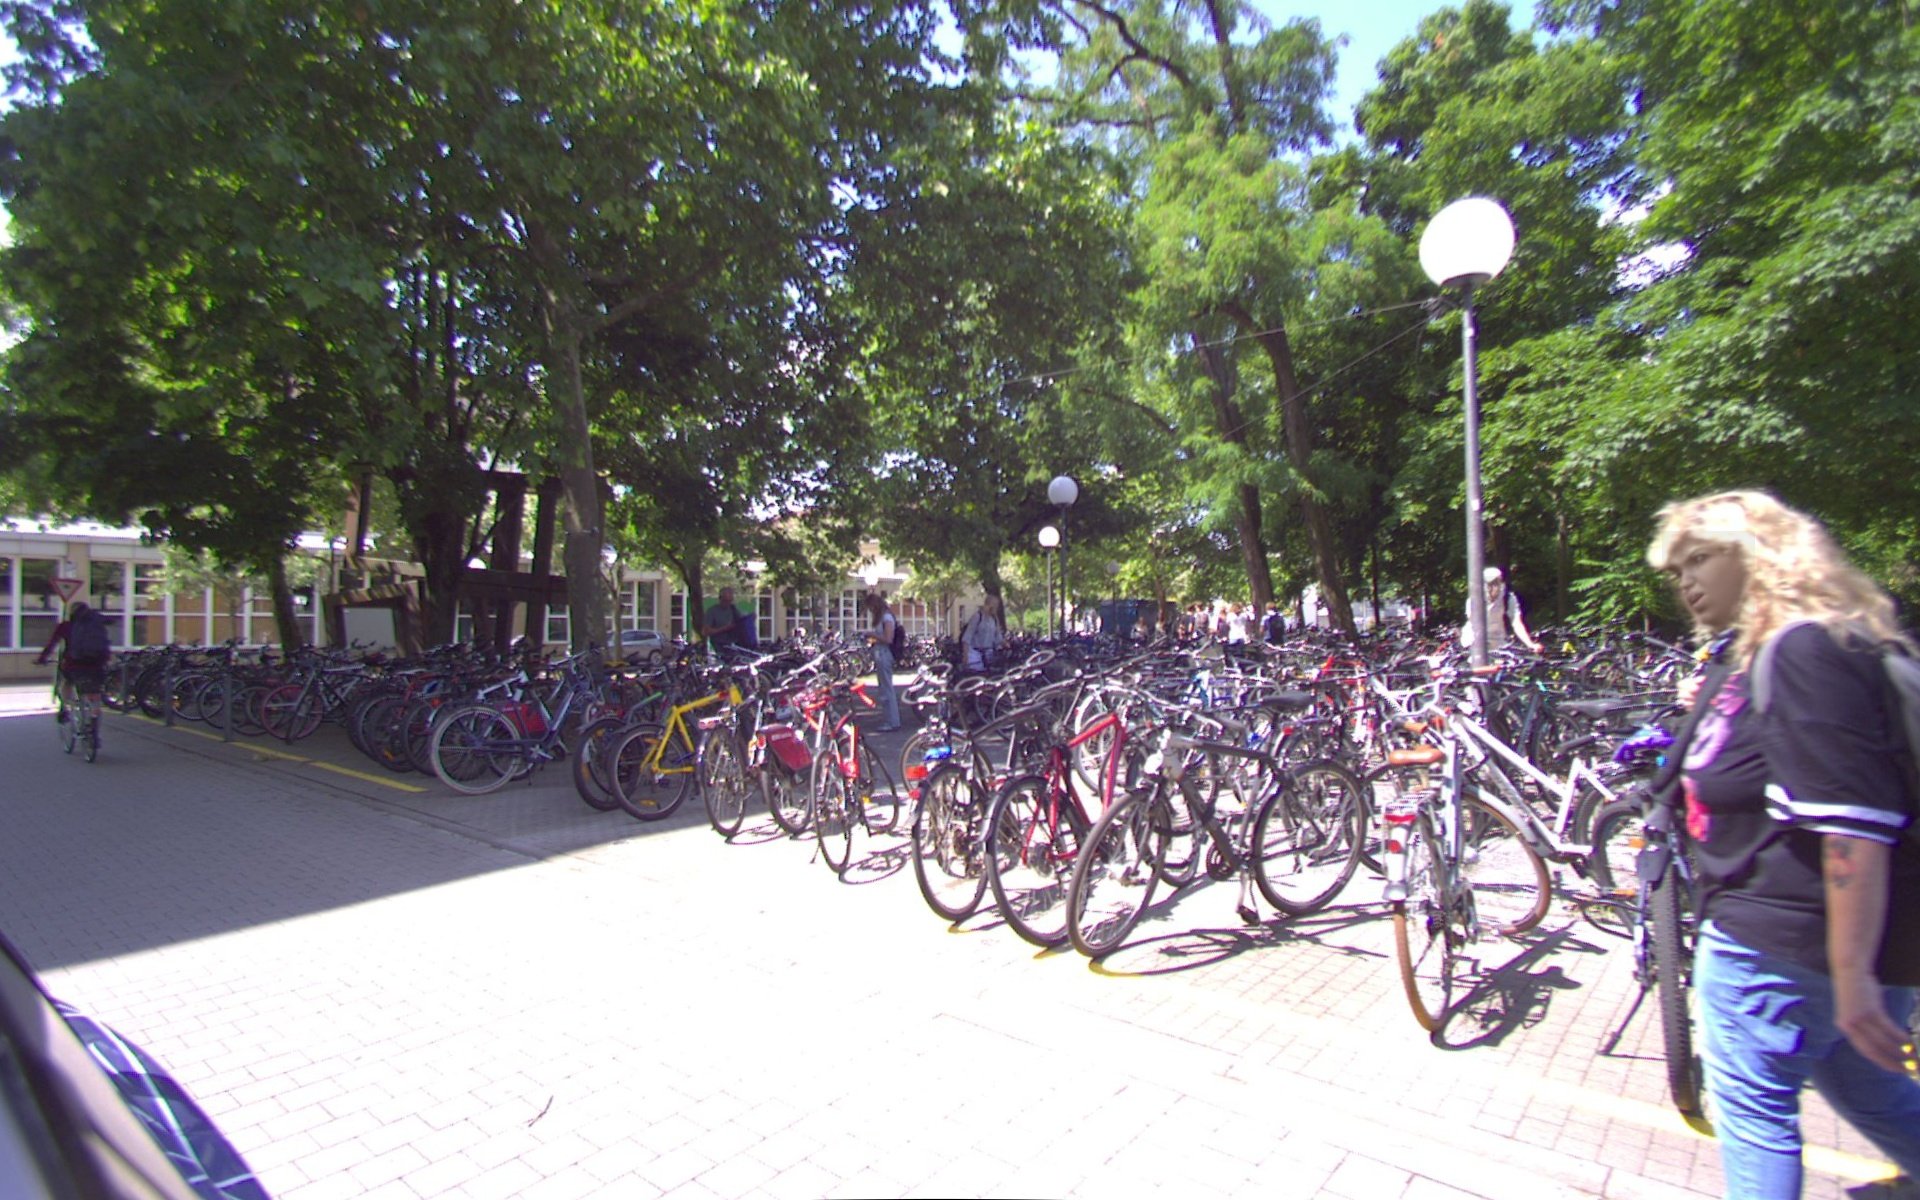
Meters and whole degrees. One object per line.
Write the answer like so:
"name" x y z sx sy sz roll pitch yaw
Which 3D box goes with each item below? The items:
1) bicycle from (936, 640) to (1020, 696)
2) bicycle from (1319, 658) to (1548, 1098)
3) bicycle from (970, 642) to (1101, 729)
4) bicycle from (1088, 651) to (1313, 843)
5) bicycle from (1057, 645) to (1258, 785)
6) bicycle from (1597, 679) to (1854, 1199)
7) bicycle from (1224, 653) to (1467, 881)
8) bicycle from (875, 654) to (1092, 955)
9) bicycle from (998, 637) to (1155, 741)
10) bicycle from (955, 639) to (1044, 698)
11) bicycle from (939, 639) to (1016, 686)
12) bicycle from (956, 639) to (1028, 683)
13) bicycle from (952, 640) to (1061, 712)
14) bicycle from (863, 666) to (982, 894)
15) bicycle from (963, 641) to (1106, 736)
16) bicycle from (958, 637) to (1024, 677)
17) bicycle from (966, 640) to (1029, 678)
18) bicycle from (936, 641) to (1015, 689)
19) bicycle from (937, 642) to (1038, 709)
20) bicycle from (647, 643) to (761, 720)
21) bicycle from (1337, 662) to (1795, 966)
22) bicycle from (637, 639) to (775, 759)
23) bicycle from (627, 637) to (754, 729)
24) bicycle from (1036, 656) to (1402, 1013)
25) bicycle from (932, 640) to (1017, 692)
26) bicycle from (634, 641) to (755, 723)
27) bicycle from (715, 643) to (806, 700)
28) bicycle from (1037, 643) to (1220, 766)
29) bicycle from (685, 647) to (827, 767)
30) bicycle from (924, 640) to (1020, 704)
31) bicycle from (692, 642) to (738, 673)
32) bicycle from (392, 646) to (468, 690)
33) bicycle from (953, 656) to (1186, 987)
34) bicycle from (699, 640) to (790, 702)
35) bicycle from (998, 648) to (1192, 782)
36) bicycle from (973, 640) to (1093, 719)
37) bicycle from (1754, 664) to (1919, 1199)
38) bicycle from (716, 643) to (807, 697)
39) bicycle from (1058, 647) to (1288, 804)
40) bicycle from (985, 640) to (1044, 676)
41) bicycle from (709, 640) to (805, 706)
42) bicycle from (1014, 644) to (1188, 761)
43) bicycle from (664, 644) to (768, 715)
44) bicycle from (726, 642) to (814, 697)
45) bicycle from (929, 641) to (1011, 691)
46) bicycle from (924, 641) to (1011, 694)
"bicycle" 0.372 1.386 20.597 1.677 1.092 0.473 -1 -1 3
"bicycle" 1.807 0.841 3.728 0.473 1.177 1.679 -2 -1 34
"bicycle" 0.994 1.130 13.555 1.674 1.092 0.474 -1 -1 -4
"bicycle" 1.646 0.920 6.781 1.671 1.092 0.475 0 -1 -36
"bicycle" 1.711 0.964 8.764 1.670 1.092 0.475 -1 -1 -18
"bicycle" 2.321 0.851 3.157 0.473 1.099 1.679 -2 -1 34
"bicycle" 2.268 0.887 5.860 1.672 1.092 0.475 0 -1 -37
"bicycle" 0.188 0.894 5.069 0.471 1.177 1.686 -1 -1 24
"bicycle" 1.312 0.981 11.438 1.671 1.092 0.475 -1 -1 -13
"bicycle" 0.754 1.309 19.470 1.677 1.092 0.473 -1 -1 3
"bicycle" 0.433 1.507 24.460 1.834 1.092 0.473 -1 -1 3
"bicycle" 0.842 1.596 26.476 1.834 1.092 0.473 -1 -1 3
"bicycle" 0.726 1.199 16.013 1.677 1.092 0.473 -1 -1 3
"bicycle" -0.178 0.972 6.016 0.468 1.070 1.696 -1 -1 6
"bicycle" 0.913 1.074 12.479 1.671 1.092 0.475 -1 -1 -13
"bicycle" 0.885 1.614 28.808 1.834 1.092 0.473 -1 -1 3
"bicycle" 1.108 1.749 30.091 1.834 1.092 0.473 -1 -1 3
"bicycle" 0.364 1.537 23.935 1.834 1.092 0.473 -1 -1 3
"bicycle" 0.476 1.282 17.208 1.677 1.092 0.473 -1 -1 3
"bicycle" -3.964 1.243 15.710 1.671 1.116 0.504 -1 -1 -13
"bicycle" 2.662 0.853 4.602 1.700 1.092 0.501 -2 -2 44
"bicycle" -2.855 1.076 11.532 0.501 1.229 1.682 -2 -1 29
"bicycle" -3.764 1.140 14.198 1.671 1.209 0.577 -1 -1 -13
"bicycle" 1.150 0.862 4.269 1.752 1.177 0.475 0 -1 -36
"bicycle" 0.329 1.459 22.361 1.834 1.092 0.473 -1 -1 3
"bicycle" -3.873 1.182 14.810 1.671 1.116 0.504 -1 -1 -13
"bicycle" -4.089 1.460 20.803 1.756 1.116 0.502 -1 -1 3
"bicycle" 1.628 0.991 9.815 1.671 1.092 0.475 -1 -1 -13
"bicycle" -2.124 1.089 10.759 0.501 1.116 1.682 -2 -1 29
"bicycle" 0.217 1.291 18.182 1.677 1.092 0.473 -1 -1 3
"bicycle" -10.228 2.380 42.266 0.674 1.149 1.862 0 1 38
"bicycle" -15.142 1.927 28.931 1.854 1.181 0.807 1 -2 -33
"bicycle" 0.578 0.883 4.692 0.472 1.177 1.683 -1 -1 28
"bicycle" -4.113 1.353 19.417 1.672 1.116 0.504 -1 -1 -9
"bicycle" 1.216 1.003 9.126 1.670 1.092 0.475 -1 -1 -18
"bicycle" 1.056 1.151 14.794 1.674 1.092 0.474 -1 -1 -4
"bicycle" 2.659 0.806 2.832 0.472 1.168 1.681 -2 -1 32
"bicycle" -4.319 1.521 22.112 1.882 1.116 0.502 -1 -1 3
"bicycle" 1.633 0.932 7.790 1.671 1.092 0.475 -1 -1 -14
"bicycle" 1.732 1.835 31.997 1.834 1.092 0.473 -1 -1 3
"bicycle" -3.647 1.305 18.260 1.672 1.116 0.632 -1 -1 -9
"bicycle" 1.426 1.017 10.258 1.671 1.092 0.475 -1 -1 -13
"bicycle" -4.089 1.330 17.048 1.672 1.116 0.504 -1 -1 -9
"bicycle" -4.032 1.479 21.523 1.756 1.116 0.502 -1 -1 3
"bicycle" 0.237 1.500 23.077 1.834 1.092 0.473 -1 -1 3
"bicycle" 0.167 1.455 21.813 1.834 1.092 0.473 -1 -1 3
